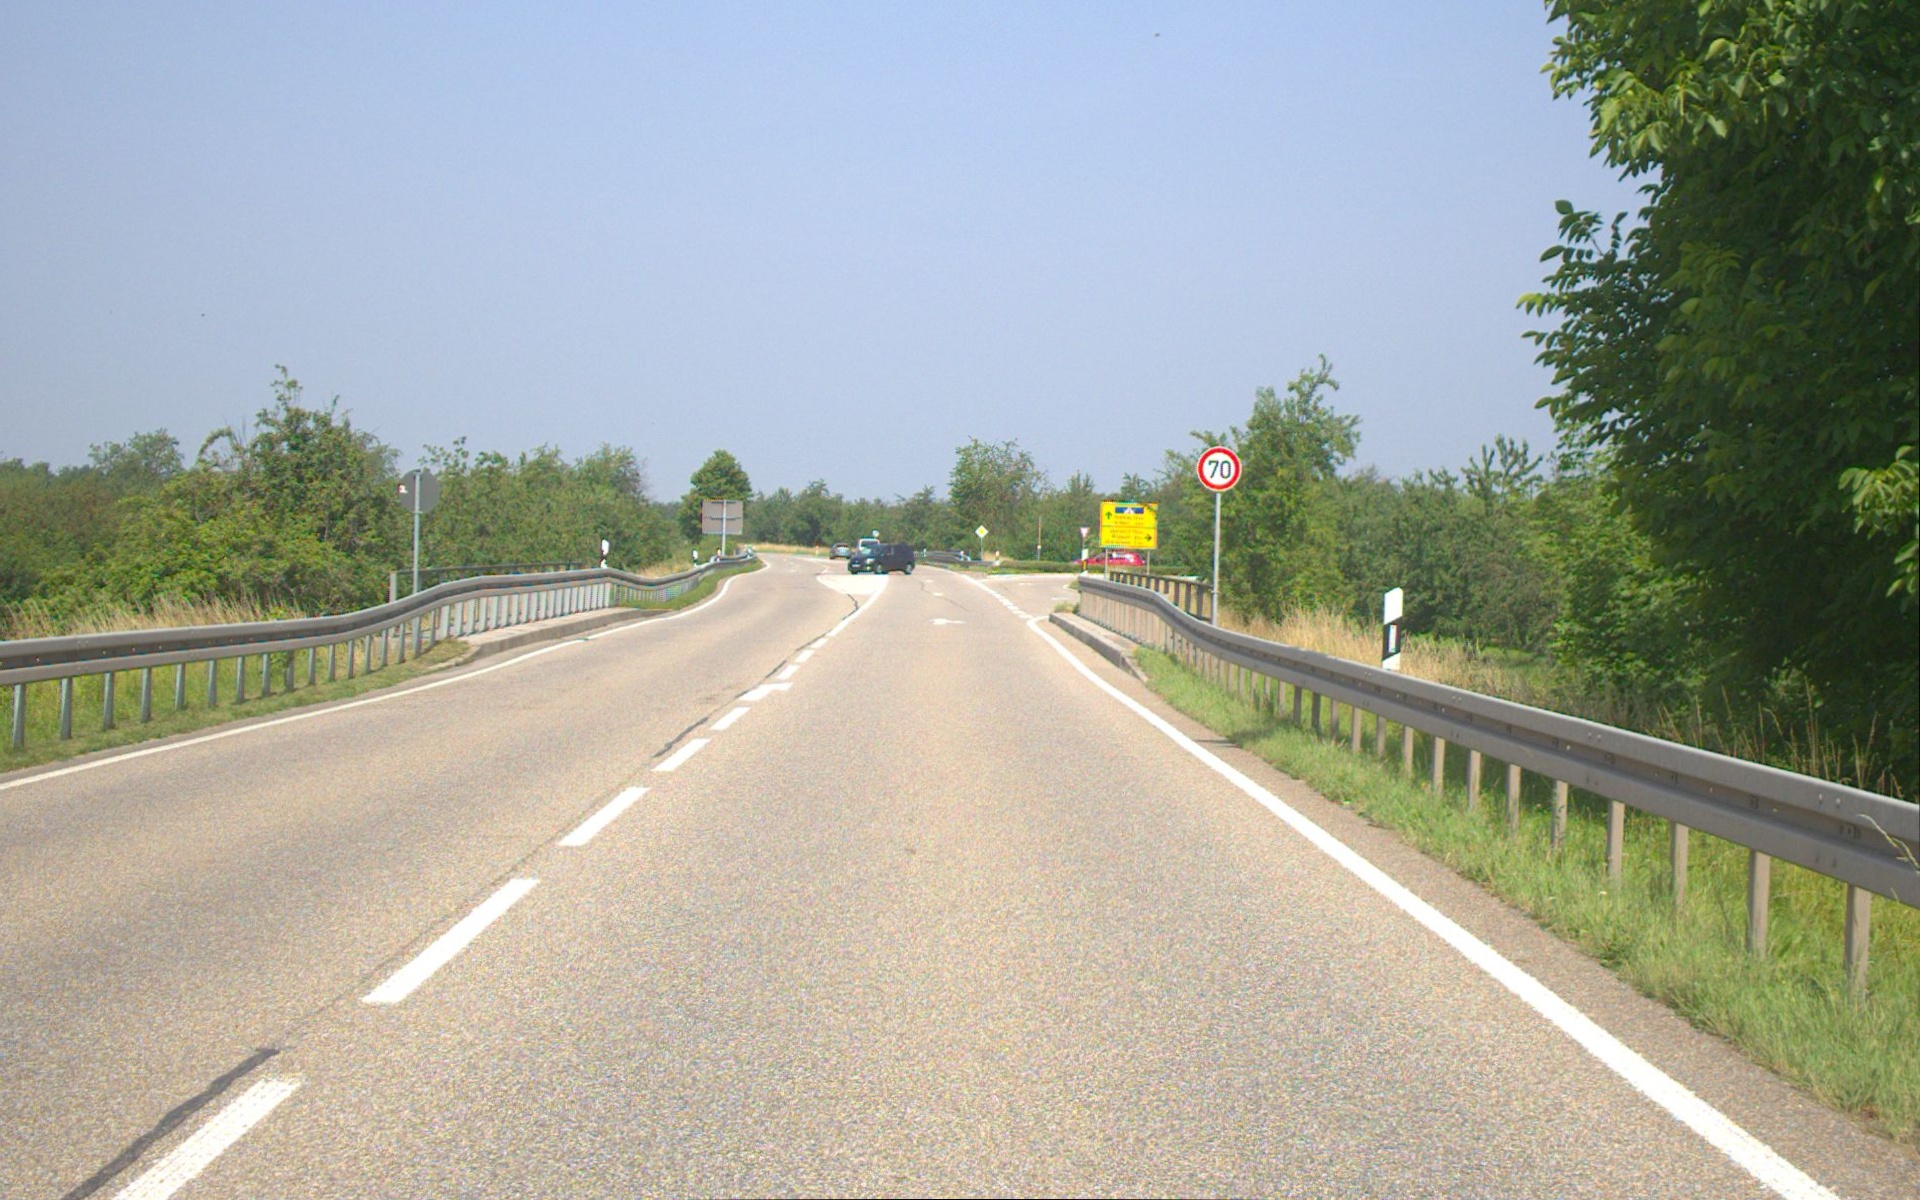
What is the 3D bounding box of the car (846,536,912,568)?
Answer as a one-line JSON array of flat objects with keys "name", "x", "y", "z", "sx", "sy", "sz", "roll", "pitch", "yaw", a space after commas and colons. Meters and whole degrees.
[{"name": "car", "x": -4.292, "y": -2.546, "z": 182.680, "sx": 1.805, "sy": 1.632, "sz": 4.804, "roll": 1, "pitch": 0, "yaw": 21}]
